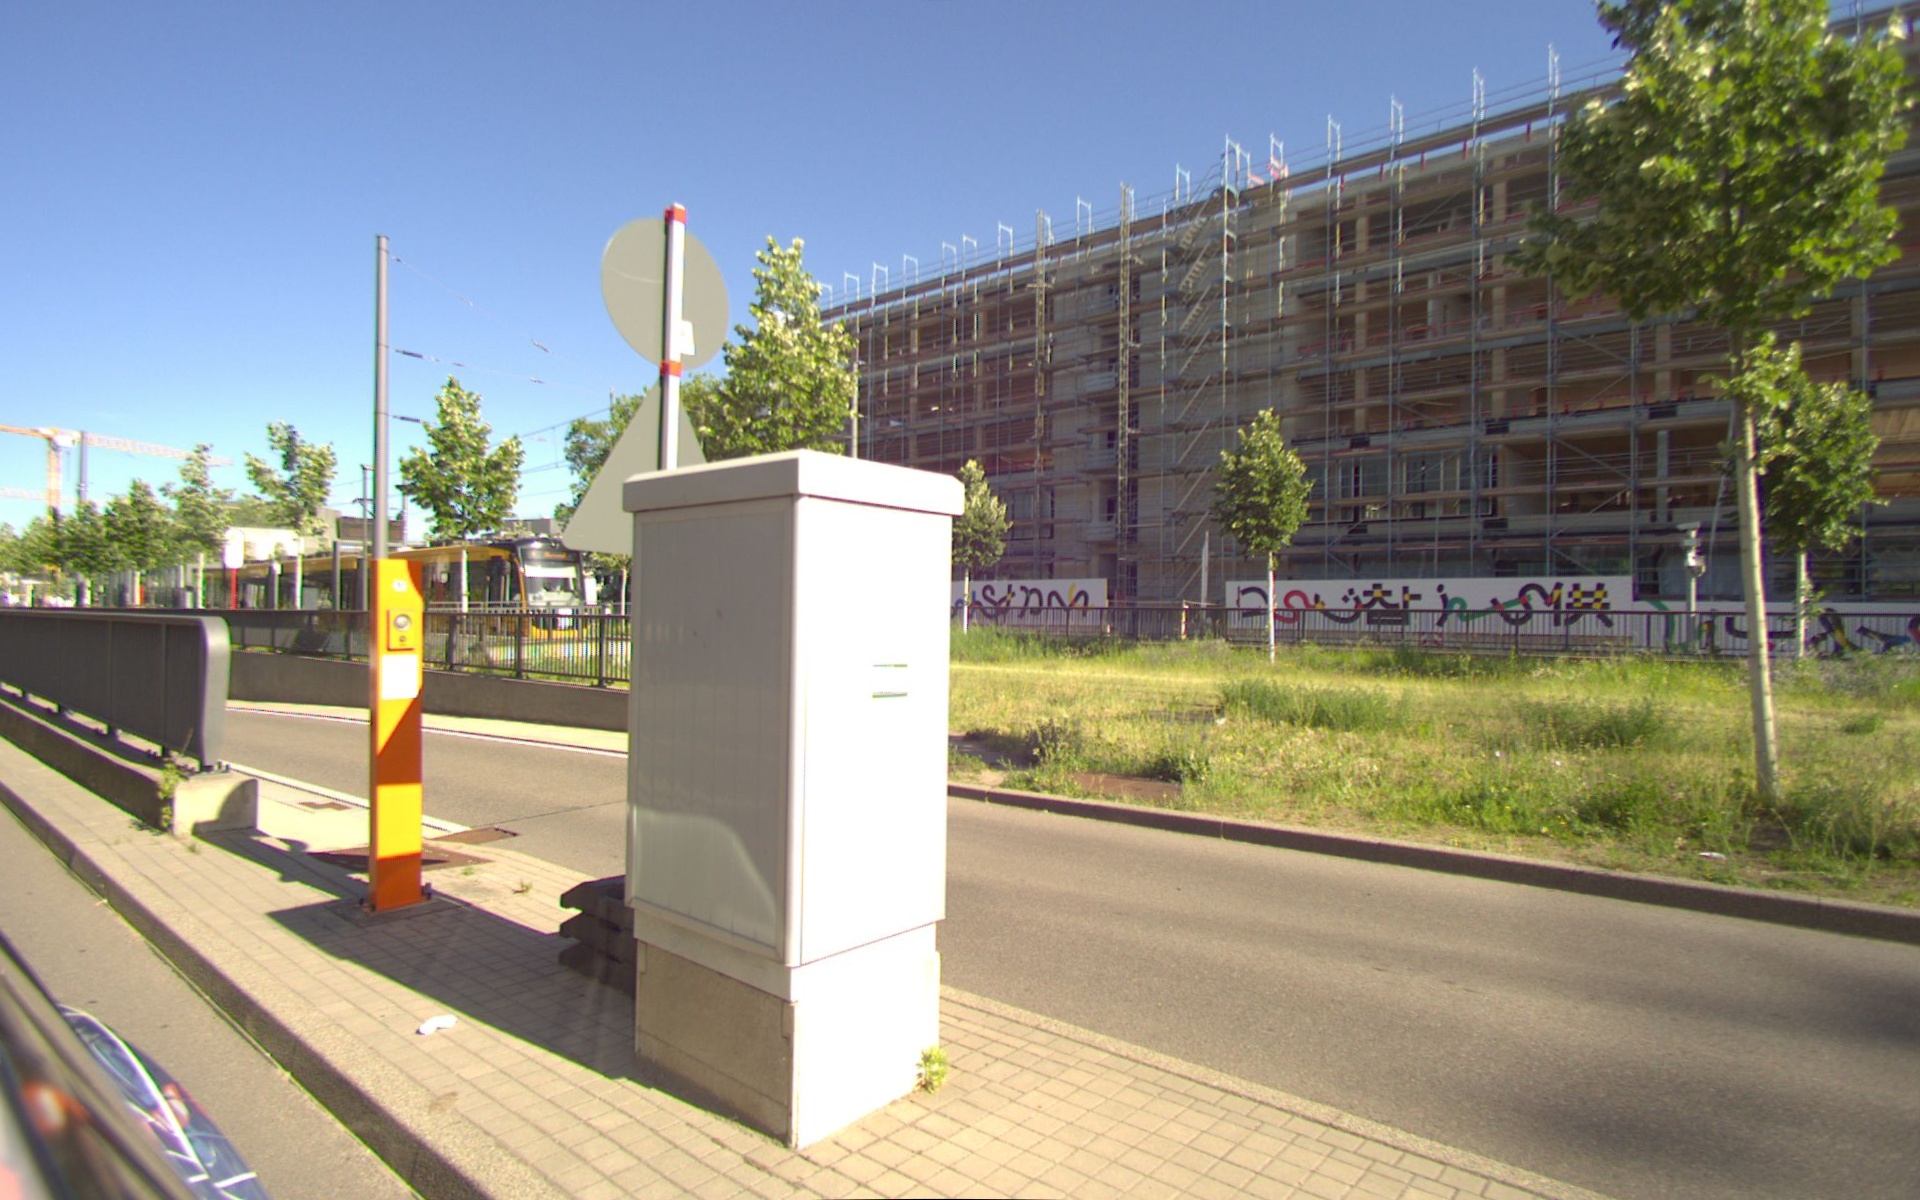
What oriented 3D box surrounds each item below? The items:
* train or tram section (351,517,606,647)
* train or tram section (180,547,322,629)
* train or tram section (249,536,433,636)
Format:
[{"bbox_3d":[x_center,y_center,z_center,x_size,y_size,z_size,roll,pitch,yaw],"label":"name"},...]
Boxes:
[{"bbox_3d":[-16.438,-0.474,33.746,12.783,3.666,2.786,0,-1,41],"label":"train or tram section"},{"bbox_3d":[-35.668,-0.502,50.623,12.783,3.666,2.786,0,-1,41],"label":"train or tram section"},{"bbox_3d":[-26.066,-0.486,42.178,12.783,3.666,2.786,0,-1,41],"label":"train or tram section"}]
